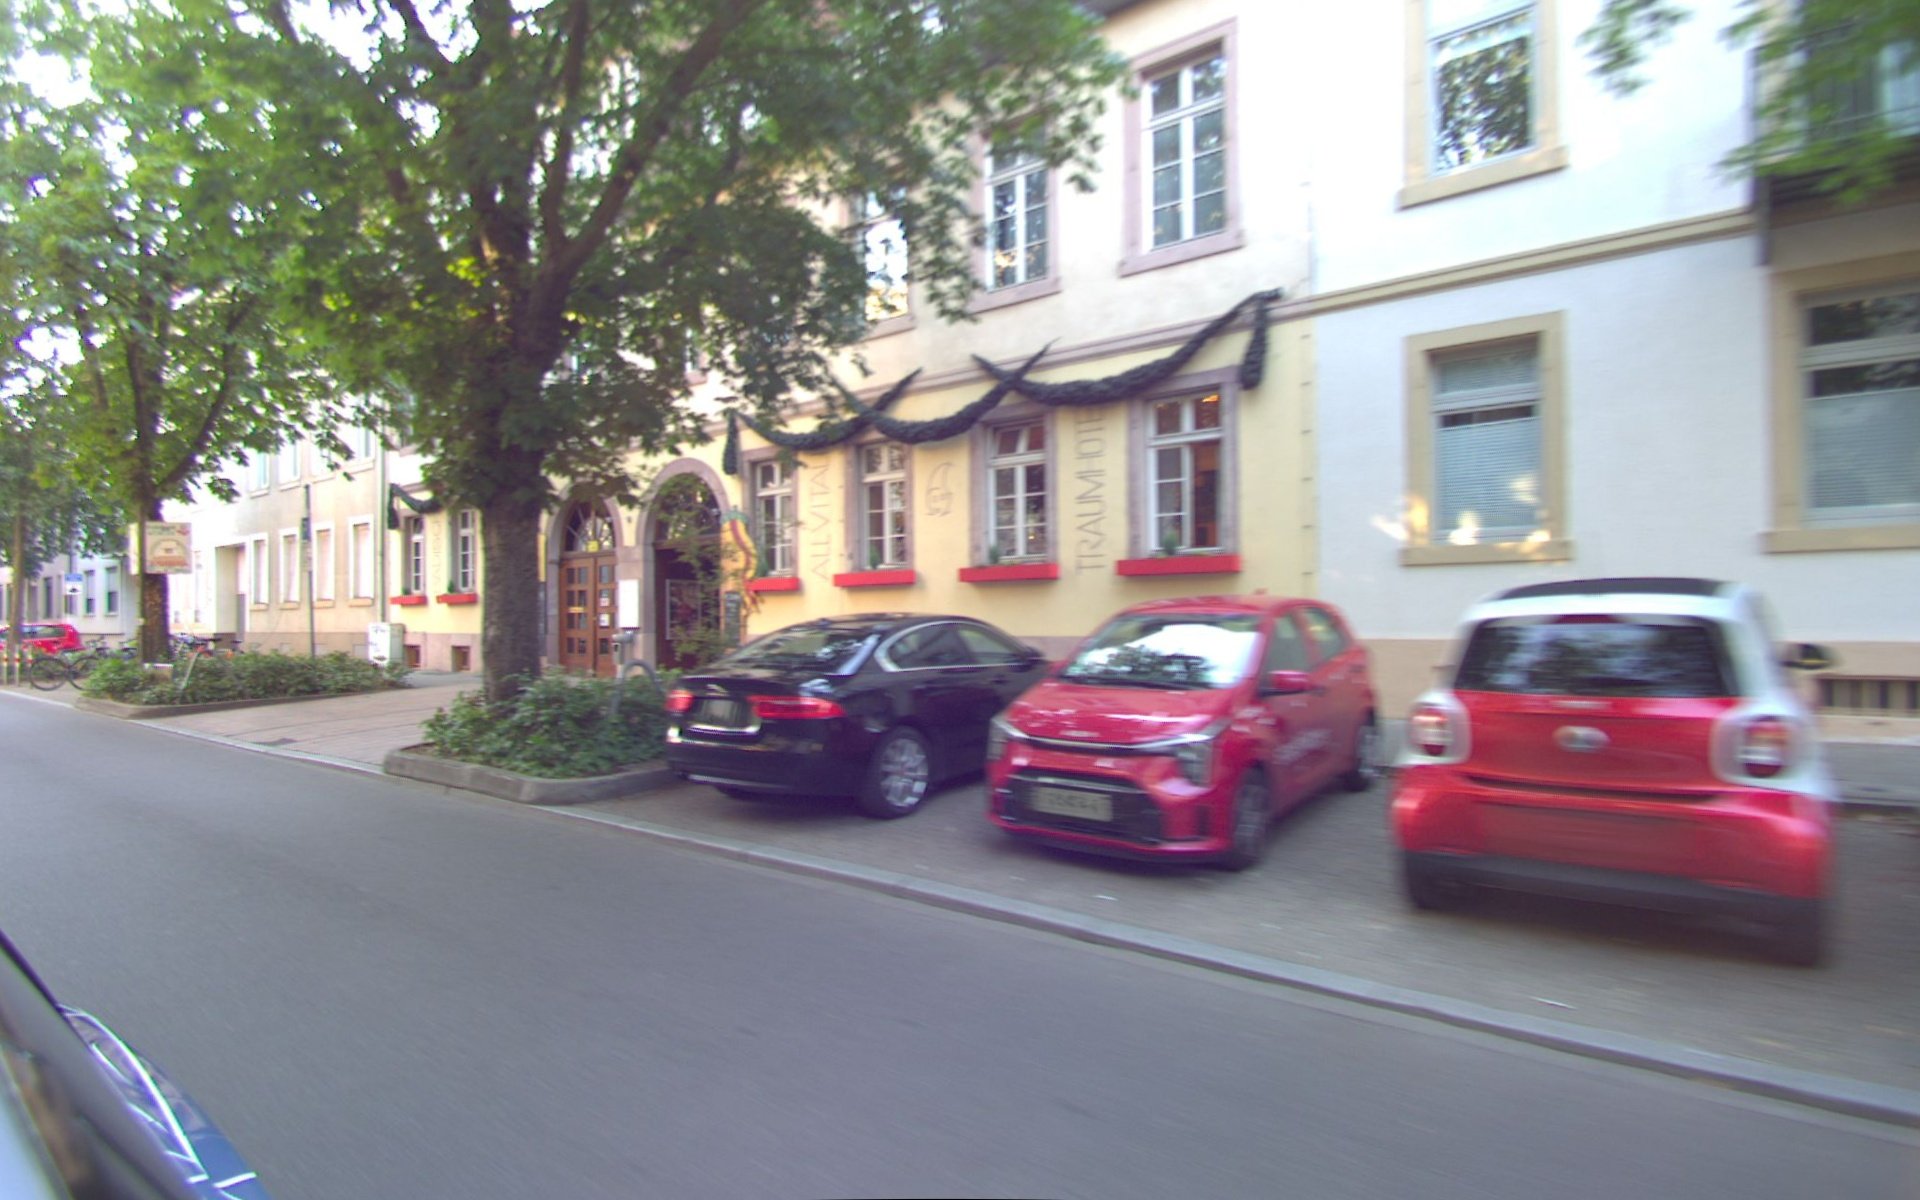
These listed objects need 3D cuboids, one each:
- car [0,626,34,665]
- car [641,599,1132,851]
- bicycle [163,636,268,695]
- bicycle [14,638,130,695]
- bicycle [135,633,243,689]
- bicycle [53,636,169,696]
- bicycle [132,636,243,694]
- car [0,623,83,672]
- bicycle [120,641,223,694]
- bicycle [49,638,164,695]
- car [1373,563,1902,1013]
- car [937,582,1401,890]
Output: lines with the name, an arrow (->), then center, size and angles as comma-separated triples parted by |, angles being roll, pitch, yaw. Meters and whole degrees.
car -> -37.345, 1.795, 38.008 | 1.587, 1.430, 3.512 | -2, 1, 35
car -> -0.287, 0.759, 8.410 | 1.714, 1.417, 4.387 | 0, 1, 34
bicycle -> -15.506, 1.336, 21.119 | 0.478, 1.107, 1.694 | -1, 0, 32
bicycle -> -19.506, 1.444, 22.265 | 0.478, 1.106, 1.849 | -1, 0, 31
bicycle -> -17.130, 1.337, 22.524 | 0.507, 1.107, 1.849 | -1, 0, 32
bicycle -> -18.314, 1.389, 21.870 | 0.478, 1.153, 1.849 | -1, 0, 31
bicycle -> -16.696, 1.375, 21.925 | 0.478, 1.107, 1.849 | -1, 0, 32
car -> -30.565, 1.558, 32.387 | 1.669, 1.416, 3.458 | -2, 1, 35
bicycle -> -18.635, 1.564, 23.955 | 0.478, 1.107, 1.849 | -1, 0, 32
bicycle -> -18.701, 1.437, 22.220 | 0.478, 1.107, 1.849 | -1, 0, 32
car -> 3.915, 0.604, 5.795 | 1.769, 1.550, 4.313 | 0, 2, 38
car -> 1.653, 0.665, 6.961 | 1.657, 1.460, 3.649 | -2, 1, 38
